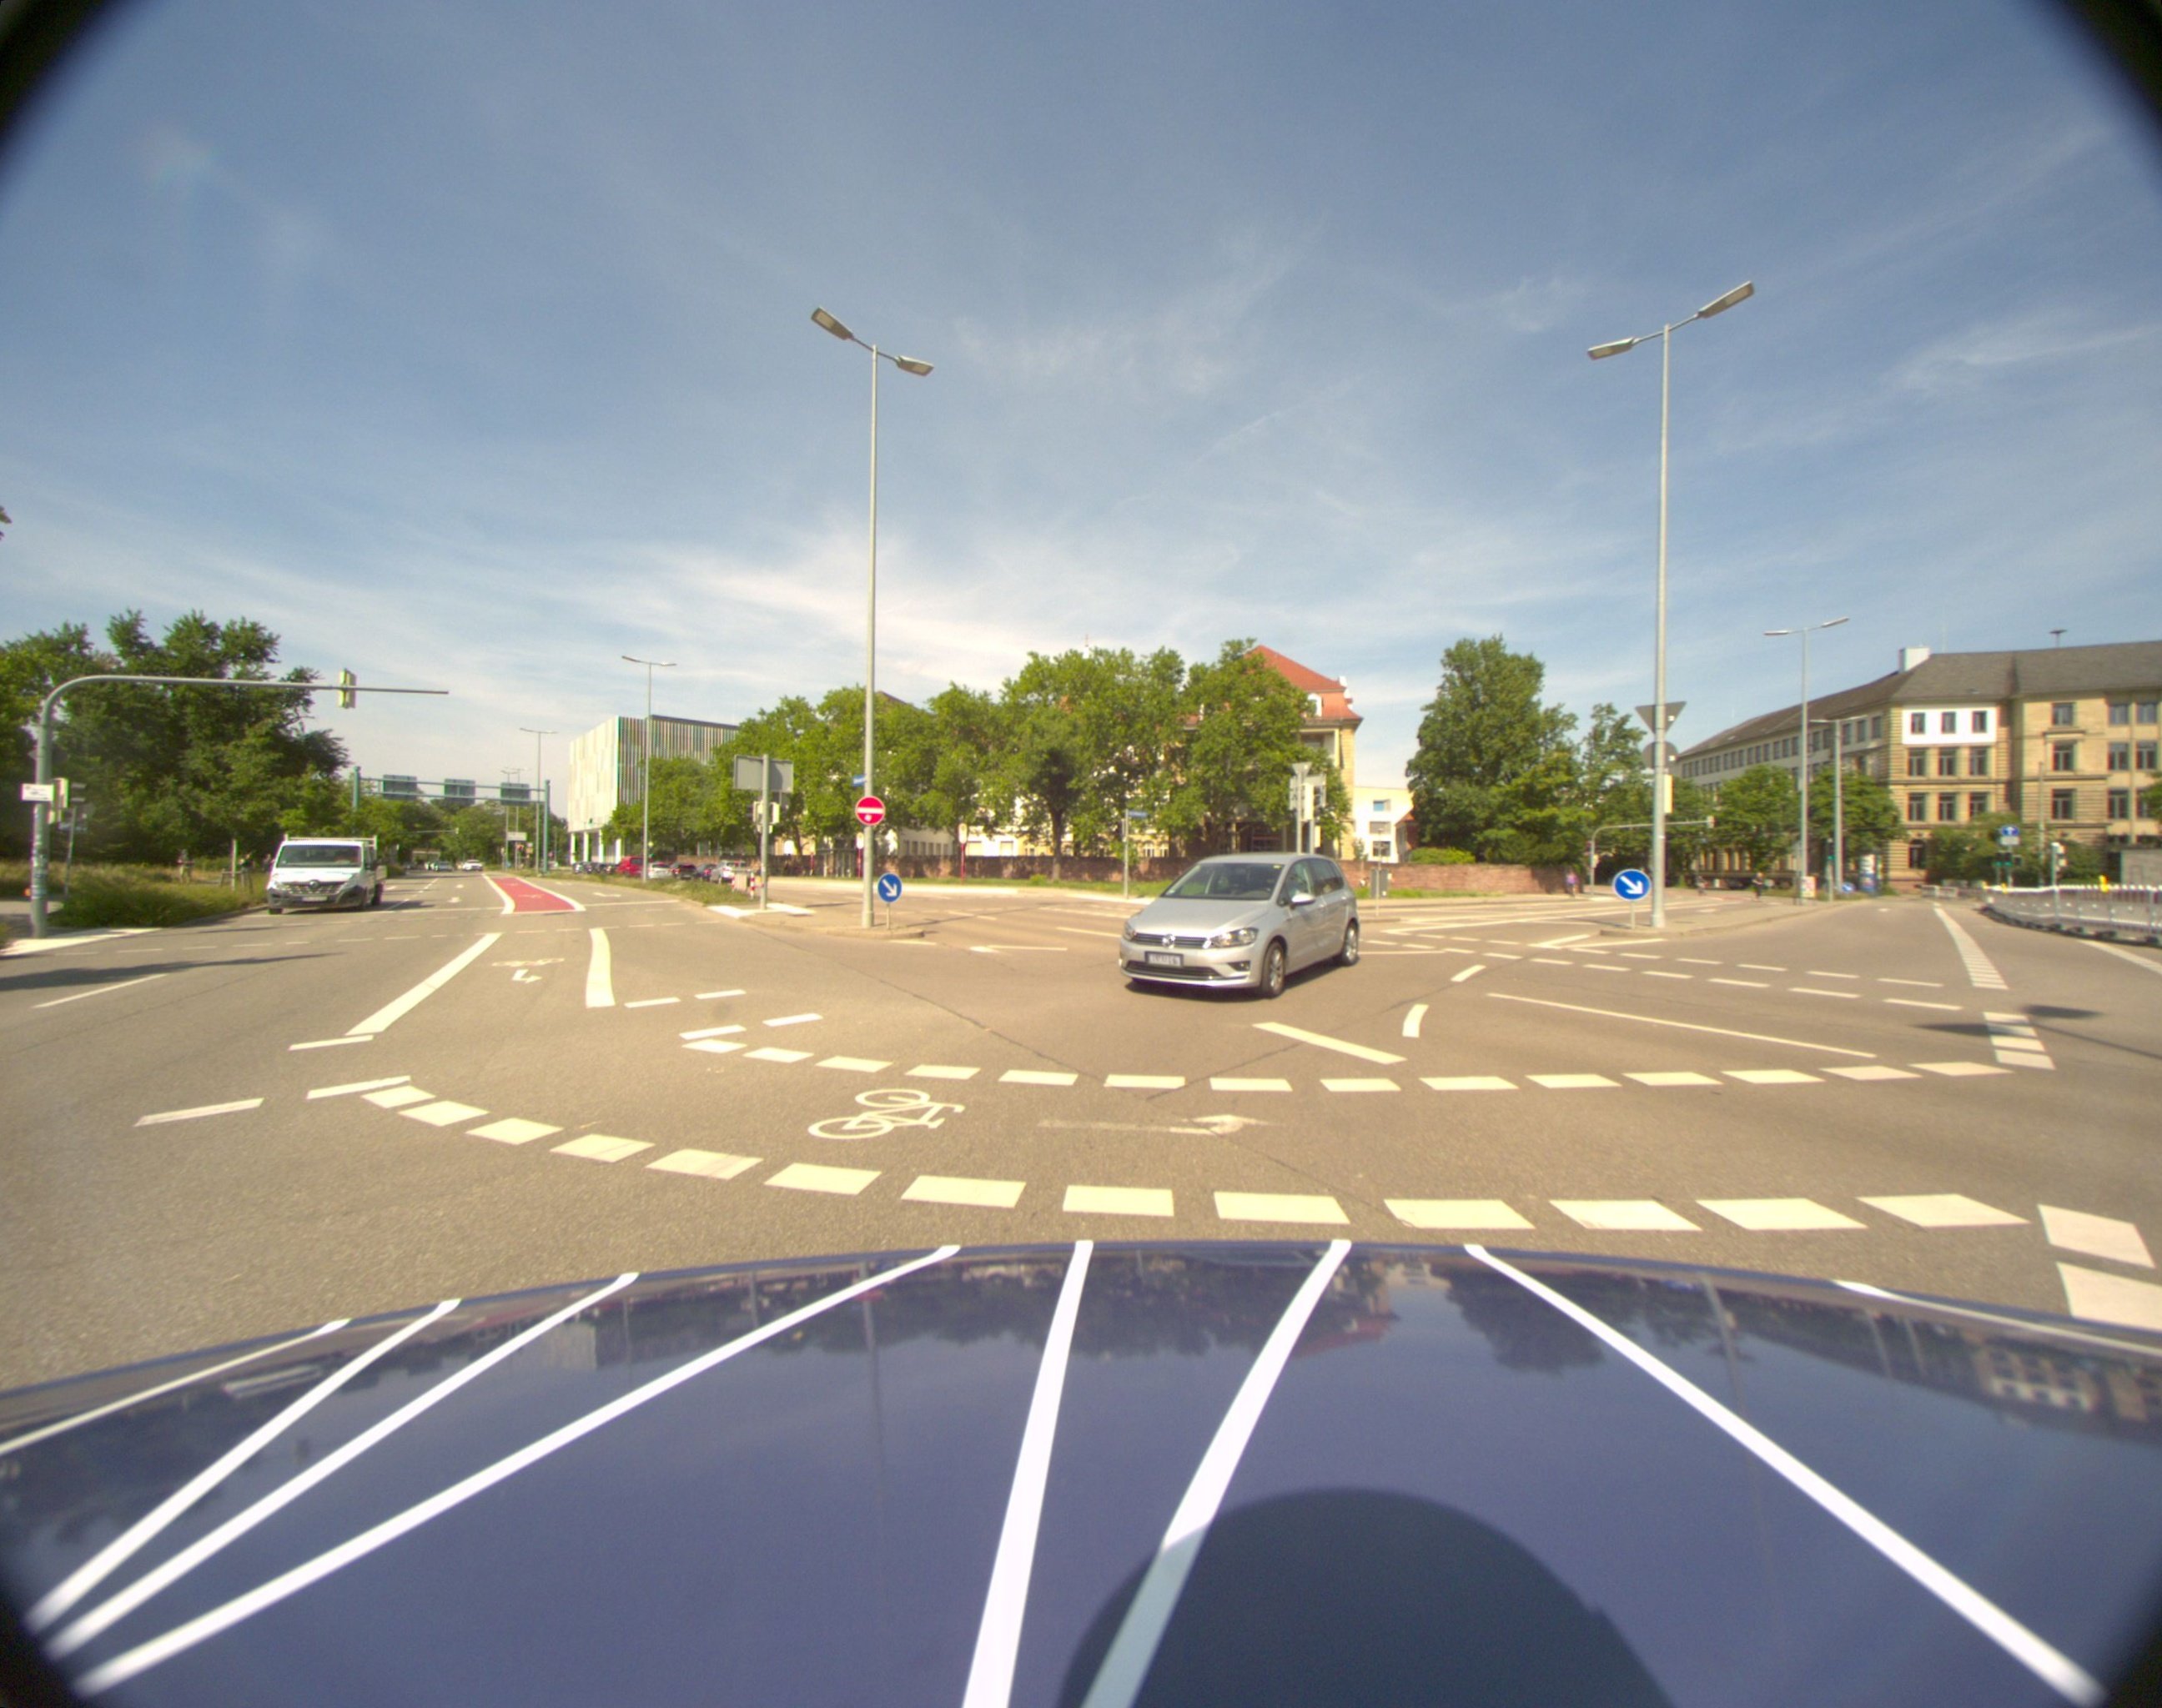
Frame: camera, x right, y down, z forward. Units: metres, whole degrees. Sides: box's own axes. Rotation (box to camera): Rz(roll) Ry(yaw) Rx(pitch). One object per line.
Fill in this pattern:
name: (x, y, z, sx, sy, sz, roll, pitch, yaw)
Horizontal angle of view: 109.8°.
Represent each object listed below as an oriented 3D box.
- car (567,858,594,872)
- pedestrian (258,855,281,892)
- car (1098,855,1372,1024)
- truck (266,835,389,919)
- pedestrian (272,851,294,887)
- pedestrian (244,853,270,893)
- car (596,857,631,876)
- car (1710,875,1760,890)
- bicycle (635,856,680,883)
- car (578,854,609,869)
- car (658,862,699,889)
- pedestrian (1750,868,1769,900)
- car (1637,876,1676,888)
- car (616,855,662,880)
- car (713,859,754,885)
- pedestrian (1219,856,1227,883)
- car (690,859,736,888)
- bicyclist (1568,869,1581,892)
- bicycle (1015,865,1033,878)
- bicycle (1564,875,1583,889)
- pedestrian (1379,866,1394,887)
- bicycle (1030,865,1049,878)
car: (-56.184, 1.227, 85.314, 1.804, 1.501, 3.988, -2, 1, -44)
pedestrian: (-55.857, 1.341, 52.280, 0.956, 2.518, 1.121, 1, -3, -42)
car: (2.122, 0.826, 9.472, 1.684, 1.577, 4.160, 1, 1, 38)
truck: (-24.221, 0.625, 24.705, 2.418, 2.342, 7.027, -1, 1, -42)
pedestrian: (-56.830, 1.110, 54.096, 0.956, 2.518, 1.121, 1, -3, -42)
pedestrian: (-51.944, 1.217, 47.899, 0.956, 2.518, 1.121, 1, -3, -42)
car: (-40.739, 1.053, 66.175, 1.804, 1.501, 3.988, -1, 1, -42)
car: (78.519, 3.408, 91.273, 3.993, 1.652, 2.002, -1, 0, 13)
bicycle: (-29.711, 1.028, 53.247, 2.004, 1.804, 3.989, 1, 0, -40)
car: (-48.930, 0.741, 76.274, 1.804, 1.501, 3.988, -2, 1, -44)
car: (-31.317, 1.704, 59.011, 2.004, 2.001, 3.990, 1, -3, -40)
pedestrian: (43.599, 1.915, 48.812, 0.793, 2.001, 0.617, 1, -1, 33)
car: (83.113, 4.045, 109.784, 3.993, 1.652, 2.002, -1, 0, 12)
car: (-33.729, 0.994, 57.913, 1.984, 1.786, 4.597, 2, -1, -43)
car: (-22.613, 1.132, 49.376, 1.715, 1.608, 4.206, 1, -1, -35)
pedestrian: (10.605, 1.121, 56.733, 0.595, 2.002, 0.524, 1, 0, 7)
car: (-26.135, 1.414, 53.921, 2.004, 2.001, 3.990, 1, -3, -40)
bicyclist: (34.709, 1.860, 53.433, 0.487, 1.627, 1.087, 1, 0, 45)
bicycle: (-4.862, 1.454, 64.259, 1.444, 1.027, 0.449, 1, 0, 21)
bicycle: (34.465, 1.952, 53.193, 1.937, 0.882, 0.683, 1, 0, -44)
pedestrian: (22.243, 1.634, 55.407, 0.912, 1.539, 0.504, 1, 0, 11)
bicycle: (-3.478, 1.463, 63.705, 1.444, 1.027, 0.449, 1, 0, 21)
